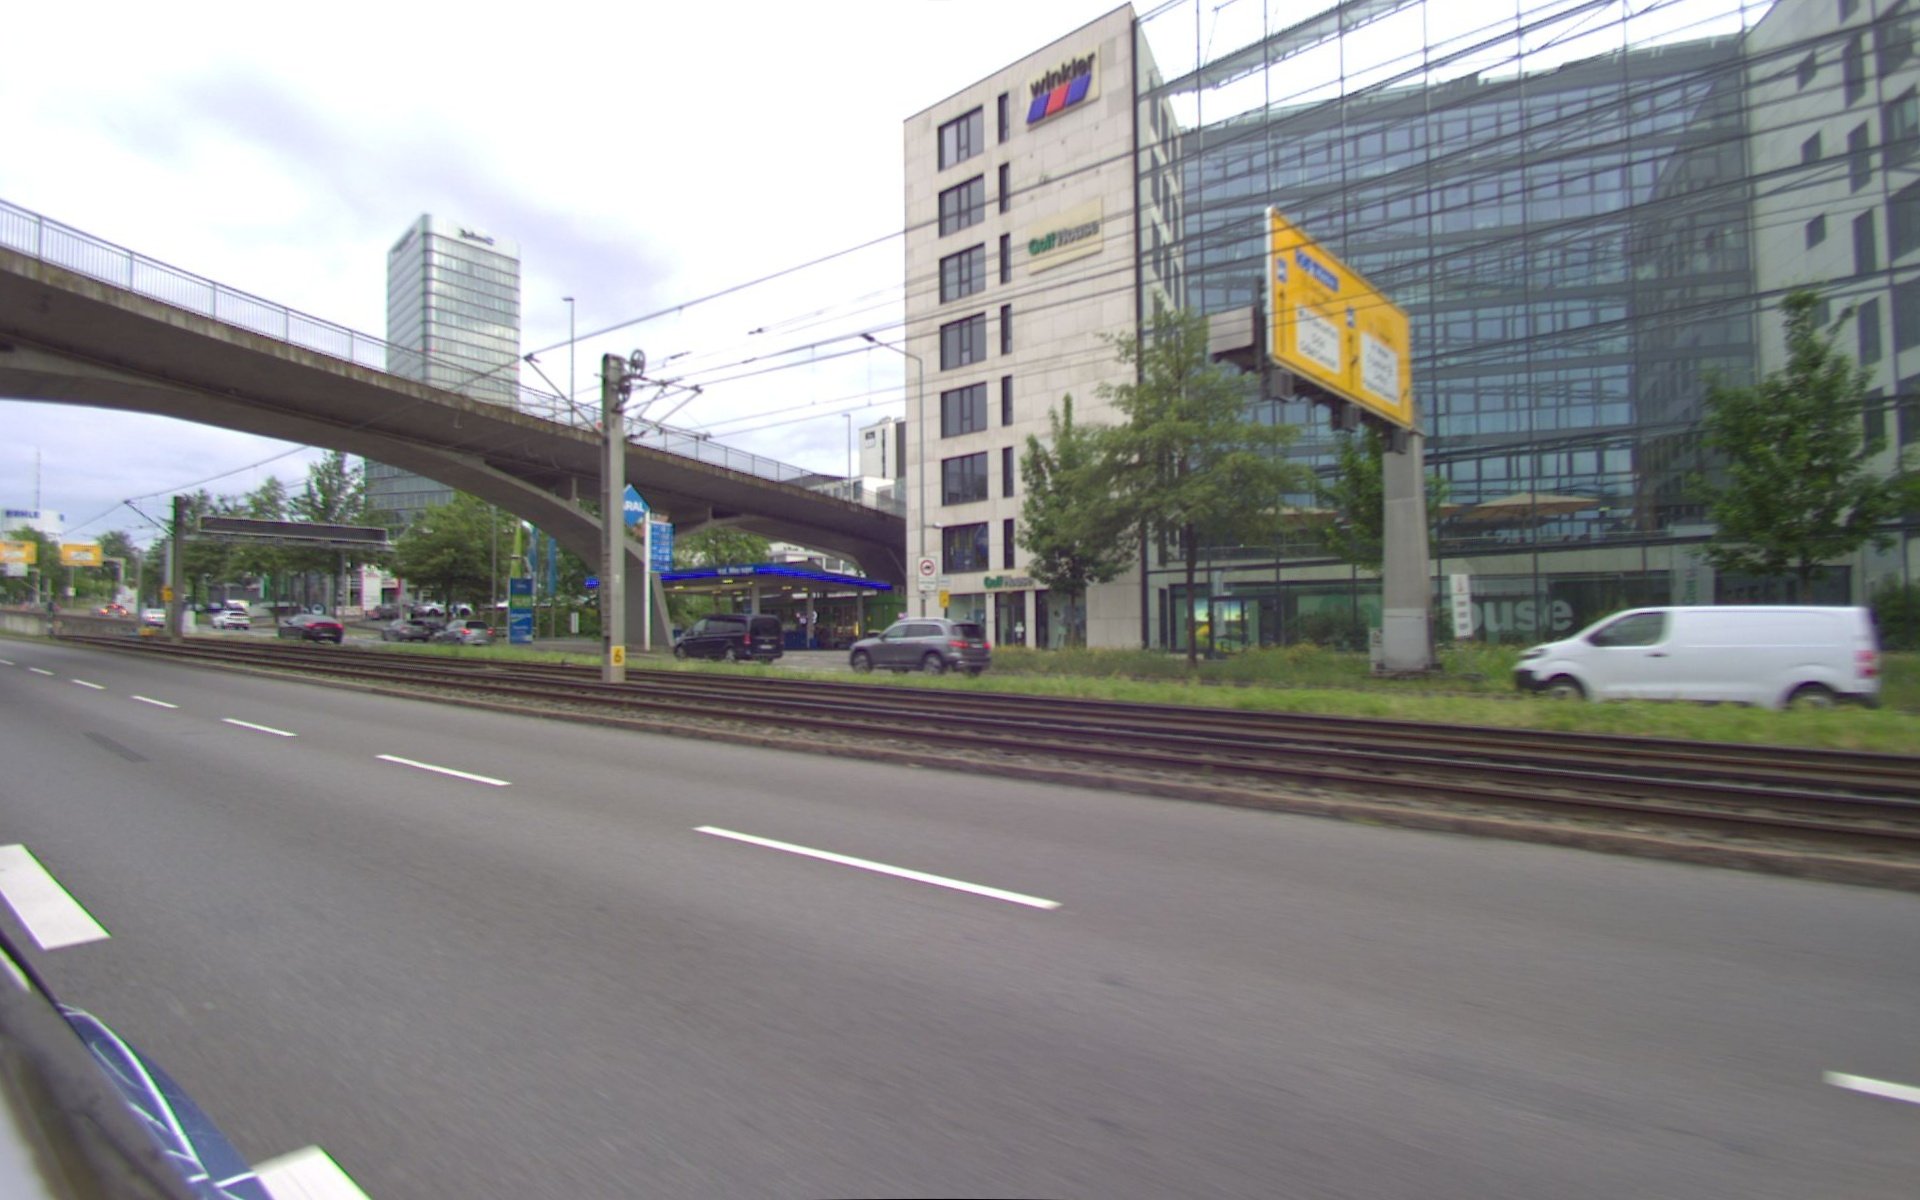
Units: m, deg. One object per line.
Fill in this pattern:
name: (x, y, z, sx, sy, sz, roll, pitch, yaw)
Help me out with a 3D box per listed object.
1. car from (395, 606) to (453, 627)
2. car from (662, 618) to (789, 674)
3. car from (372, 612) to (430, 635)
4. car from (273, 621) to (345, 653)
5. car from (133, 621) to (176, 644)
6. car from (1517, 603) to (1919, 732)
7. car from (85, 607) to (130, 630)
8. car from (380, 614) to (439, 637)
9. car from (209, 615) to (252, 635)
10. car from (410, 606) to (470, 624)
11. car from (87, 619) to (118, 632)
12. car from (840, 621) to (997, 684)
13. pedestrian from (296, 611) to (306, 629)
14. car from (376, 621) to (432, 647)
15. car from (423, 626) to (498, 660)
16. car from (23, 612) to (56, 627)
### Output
car: (-47.219, 1.425, 89.172, 1.886, 1.785, 4.140, 1, 1, 44)
car: (-9.089, 1.723, 38.999, 5.126, 1.967, 2.039, -1, -1, 38)
car: (-51.022, 2.120, 92.483, 1.886, 1.962, 4.304, 1, 1, 44)
car: (-33.892, 1.891, 52.644, 4.865, 1.545, 1.792, -1, -1, 40)
car: (-60.045, 2.419, 75.400, 4.790, 1.610, 1.745, -1, -1, 42)
car: (12.108, 0.990, 16.440, 5.061, 1.775, 1.917, -1, -1, 42)
car: (-72.913, 1.565, 86.578, 4.216, 1.790, 1.903, -1, -6, 37)
car: (-49.437, 2.276, 90.982, 1.886, 1.962, 4.304, 1, 1, 44)
car: (-60.091, 2.075, 83.367, 4.656, 1.509, 1.899, -1, -5, 42)
car: (-45.245, 1.303, 88.079, 1.886, 1.515, 4.304, 1, 1, 44)
car: (-104.643, 3.137, 123.459, 4.562, 1.540, 2.027, -1, -1, 39)
car: (-1.251, 1.420, 28.723, 4.489, 1.618, 1.790, -1, -1, 42)
pedestrian: (-63.947, 1.937, 98.177, 0.636, 1.809, 0.679, 1, 0, 42)
car: (-35.552, 2.165, 64.672, 4.489, 1.610, 1.745, -1, -1, 42)
car: (-24.252, 2.053, 49.090, 4.273, 1.545, 1.791, -1, -1, 41)
car: (-102.291, 2.195, 112.417, 4.754, 1.550, 2.027, -1, -1, 39)
